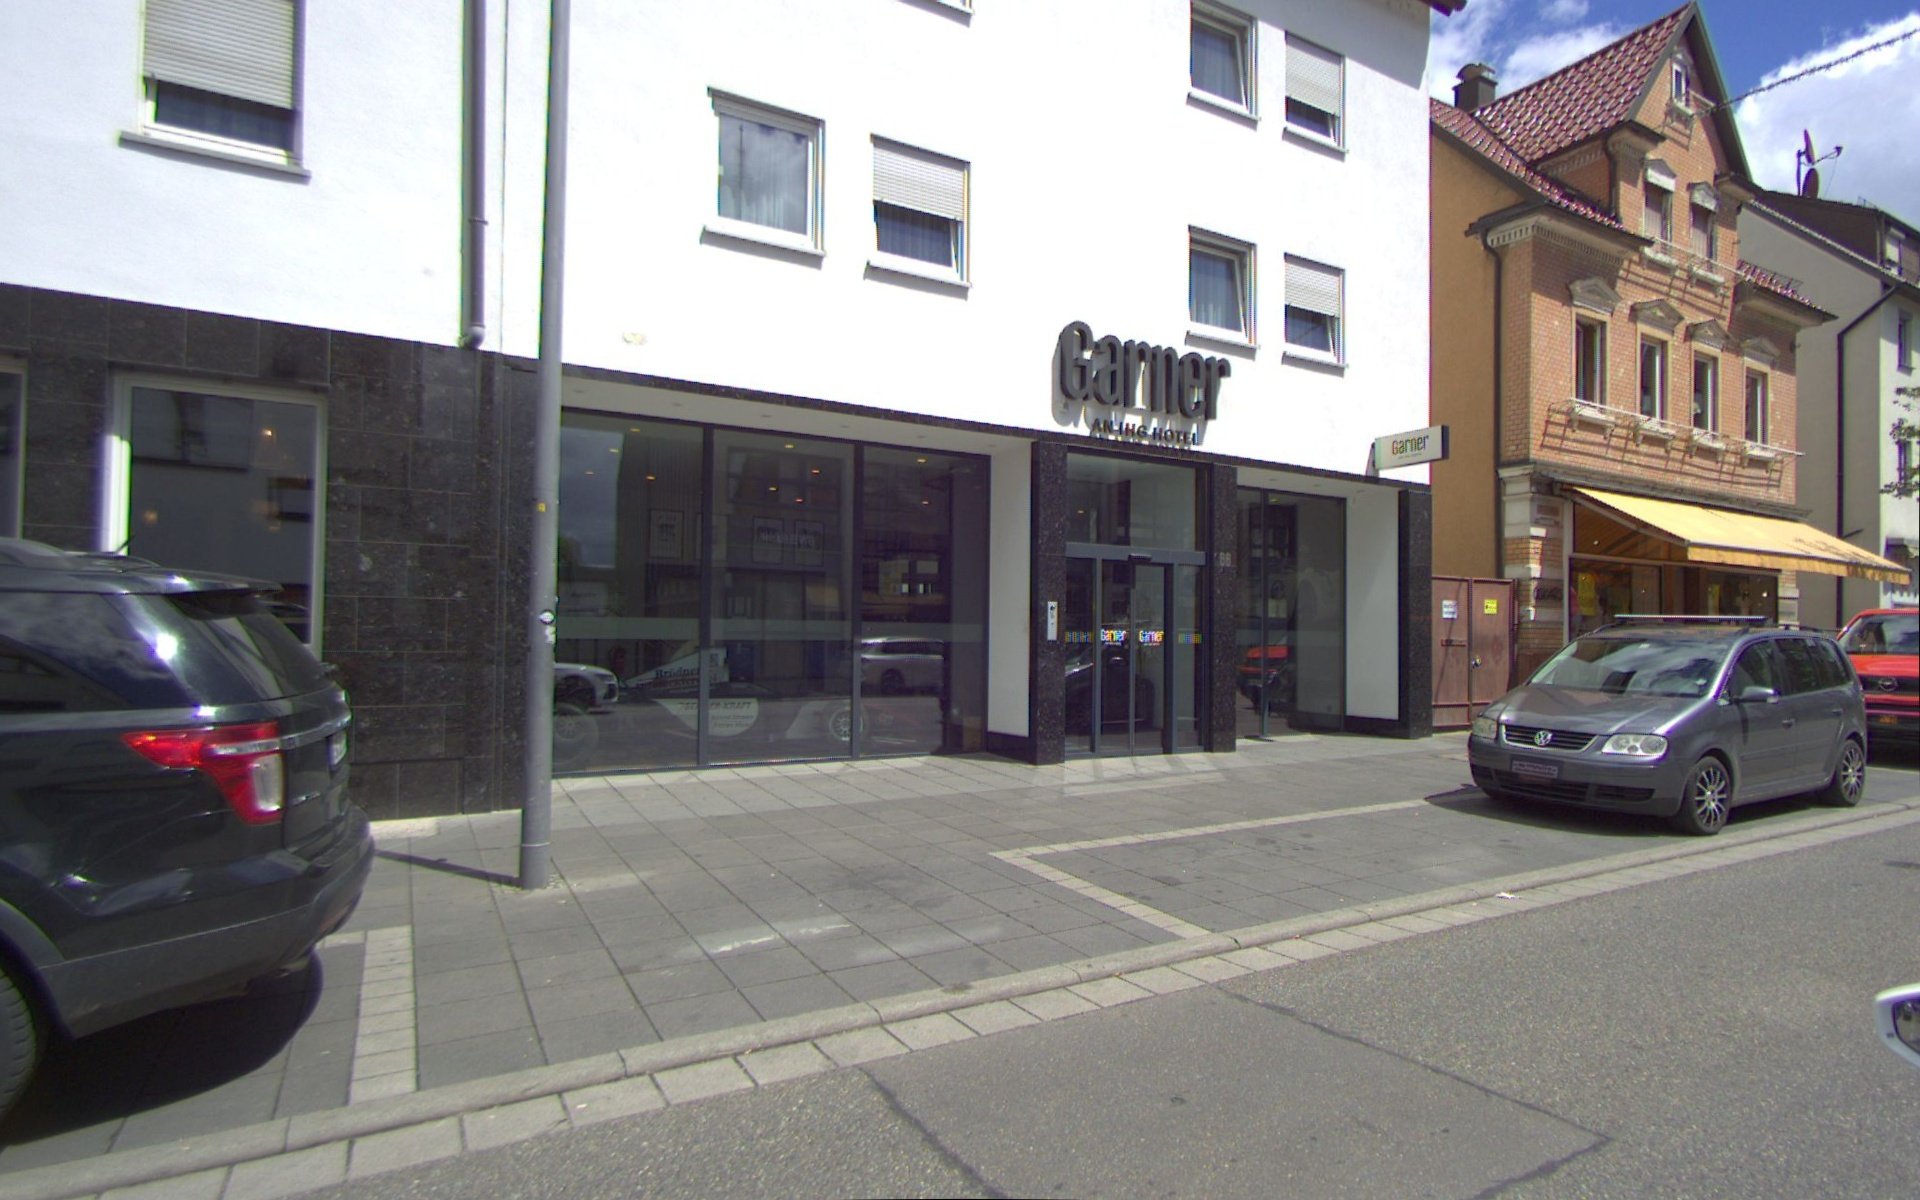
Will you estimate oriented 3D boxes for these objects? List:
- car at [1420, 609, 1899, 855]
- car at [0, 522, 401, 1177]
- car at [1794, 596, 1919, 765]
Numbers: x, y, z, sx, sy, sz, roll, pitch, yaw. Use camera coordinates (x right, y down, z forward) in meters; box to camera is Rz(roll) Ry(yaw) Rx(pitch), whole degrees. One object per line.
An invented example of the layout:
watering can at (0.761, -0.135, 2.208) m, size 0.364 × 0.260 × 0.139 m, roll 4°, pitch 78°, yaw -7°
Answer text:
car at (6.471, 1.040, 9.196) m, size 4.409 × 1.778 × 1.808 m, roll 2°, pitch -1°, yaw -29°
car at (-4.306, 0.629, 2.860) m, size 4.609 × 1.778 × 1.809 m, roll 2°, pitch -1°, yaw -27°
car at (12.784, 0.993, 13.010) m, size 4.792 × 1.913 × 1.804 m, roll 2°, pitch -1°, yaw -35°
